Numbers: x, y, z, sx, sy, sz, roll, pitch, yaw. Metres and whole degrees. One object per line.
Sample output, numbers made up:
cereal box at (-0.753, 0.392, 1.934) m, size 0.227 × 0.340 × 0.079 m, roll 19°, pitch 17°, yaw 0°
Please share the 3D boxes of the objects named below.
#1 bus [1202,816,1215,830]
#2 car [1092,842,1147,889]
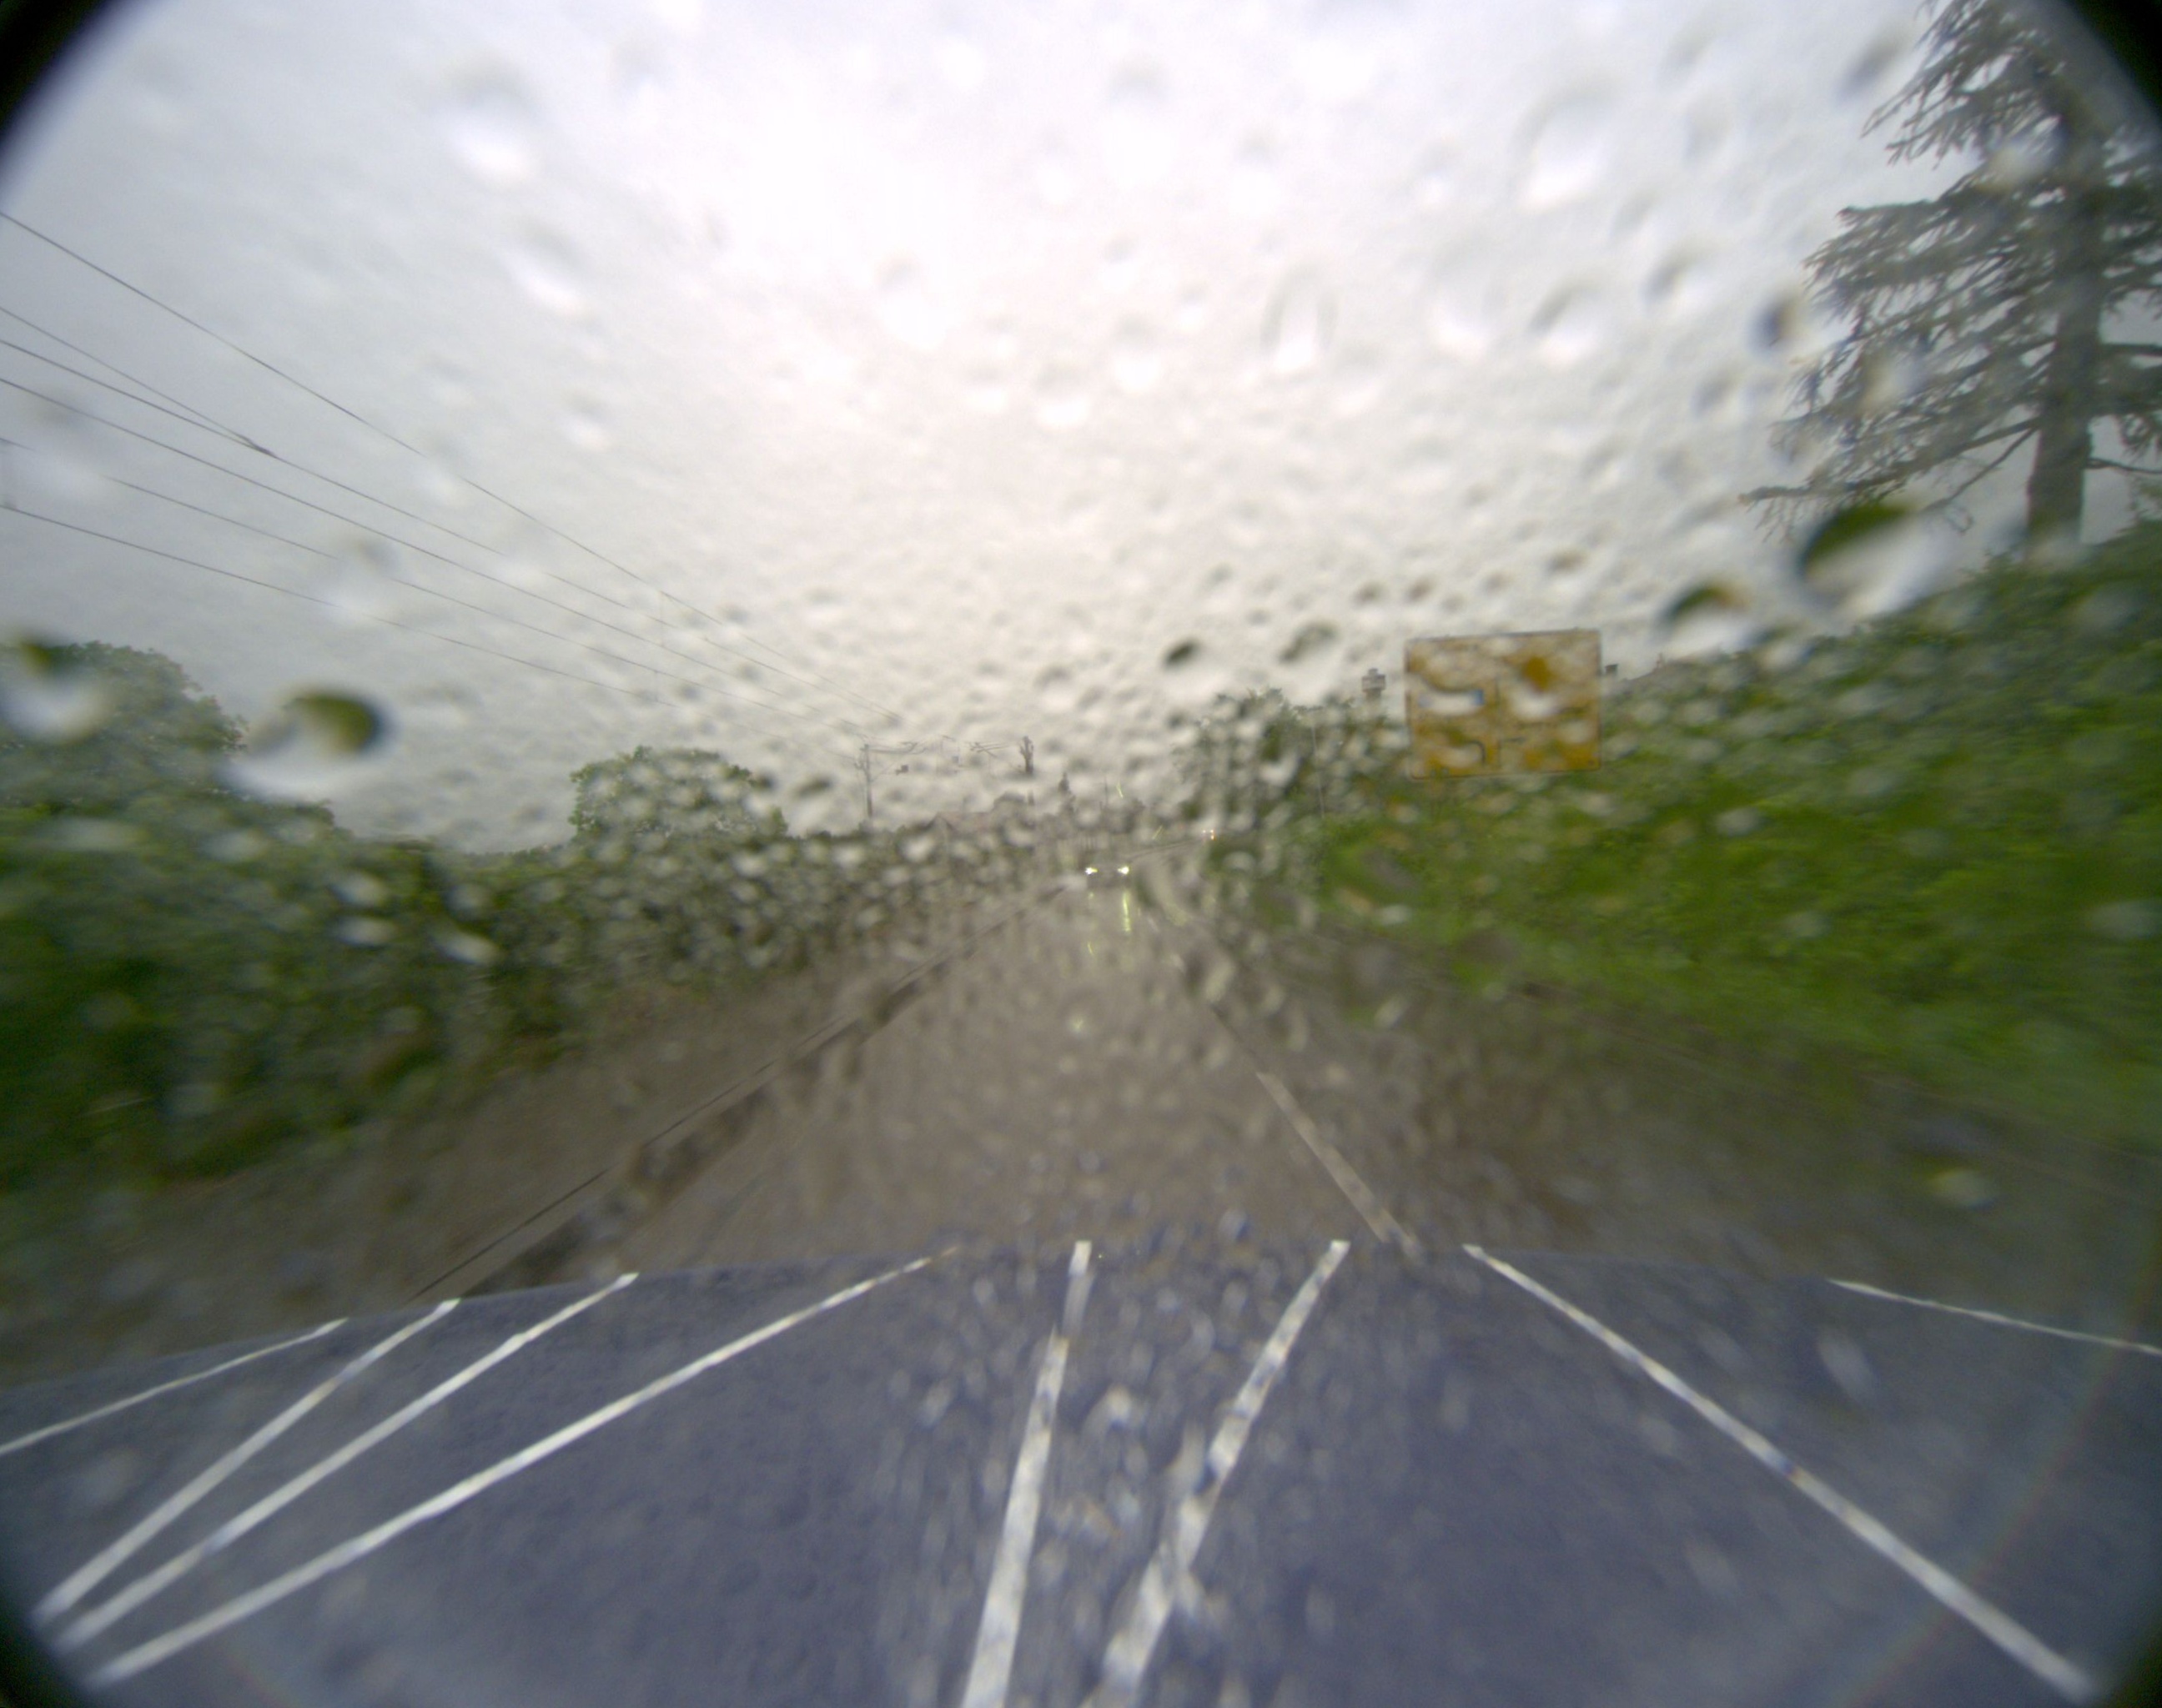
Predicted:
bus at (32.121, -7.945, 191.498) m, size 2.674 × 3.061 × 9.997 m, roll -4°, pitch 3°, yaw 12°
car at (1.760, 0.453, 32.998) m, size 1.997 × 1.623 × 4.000 m, roll -4°, pitch 3°, yaw 7°
